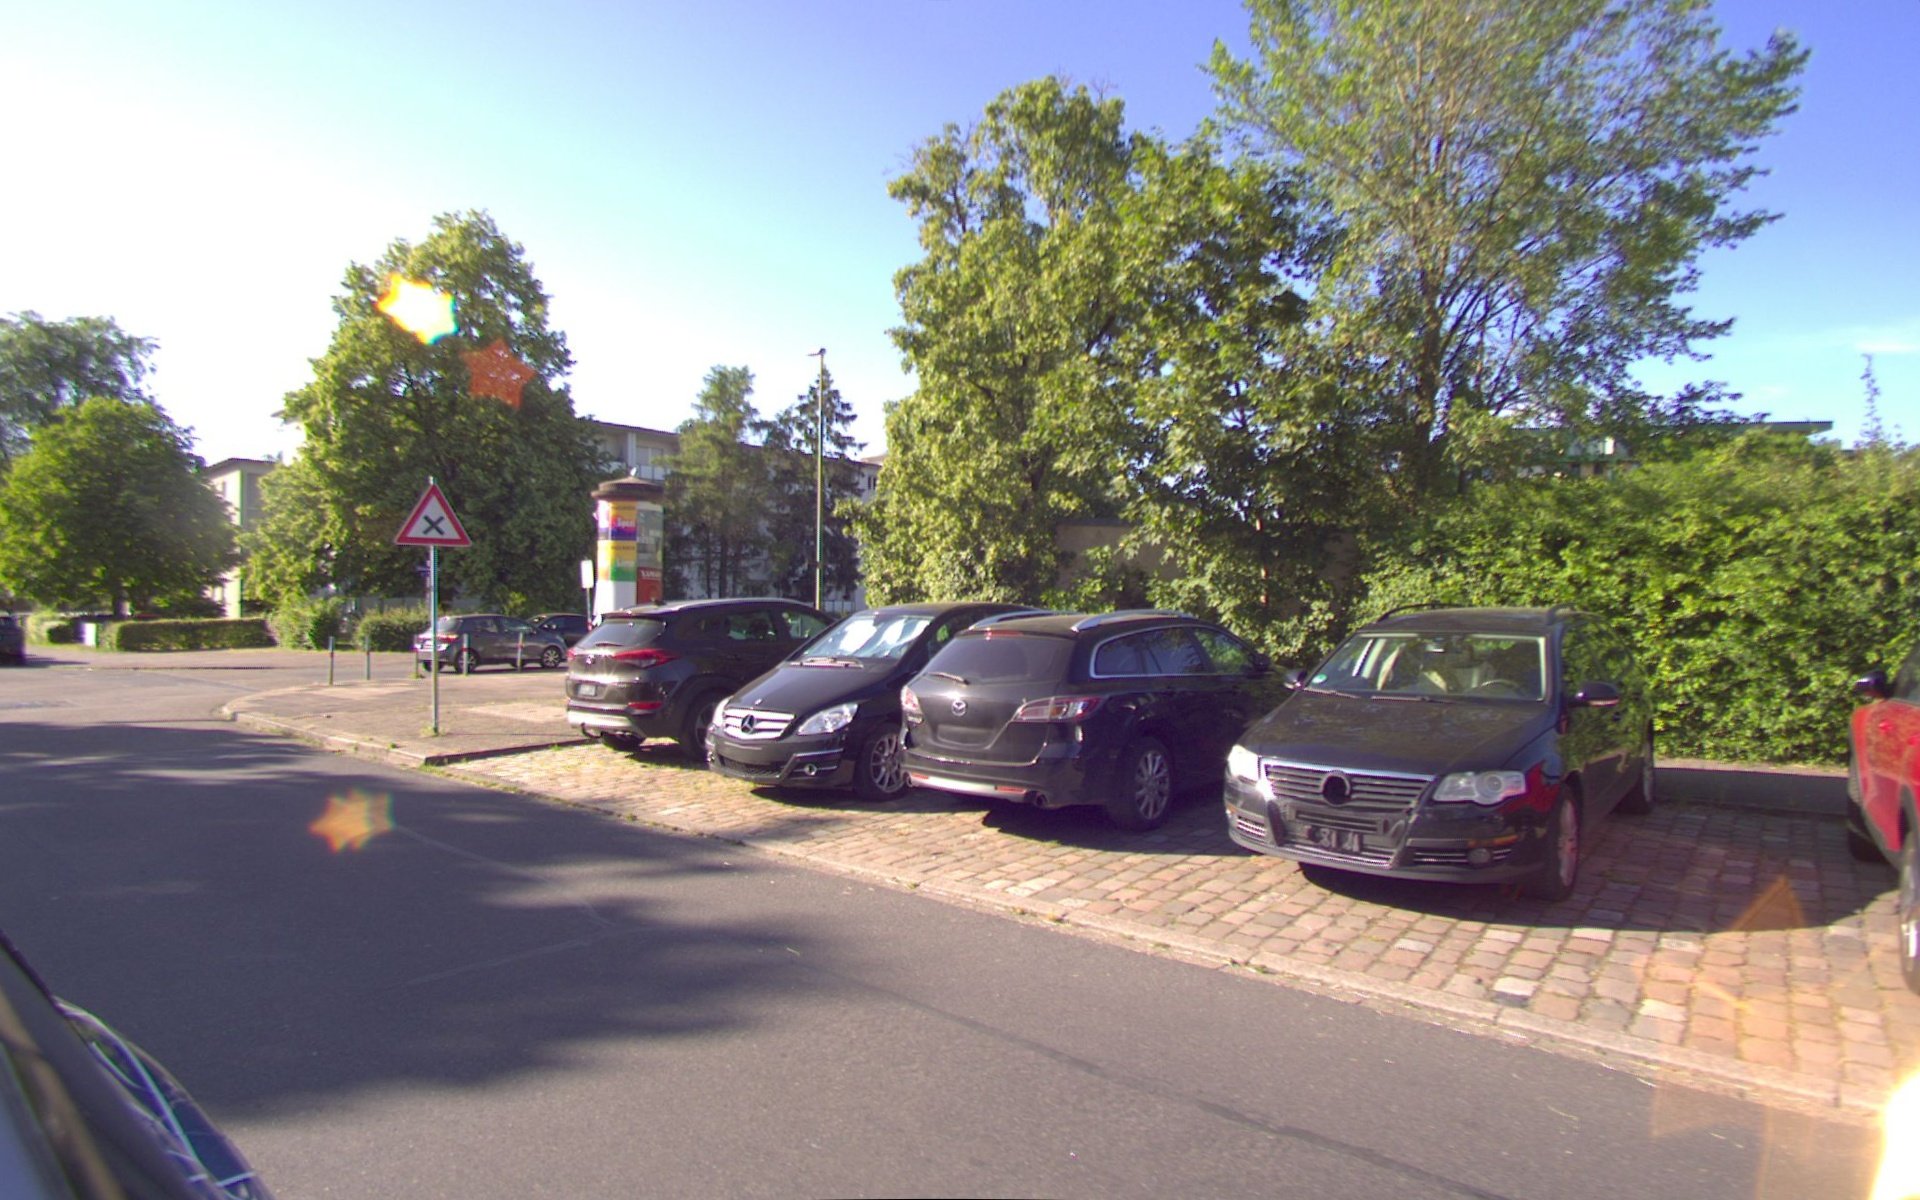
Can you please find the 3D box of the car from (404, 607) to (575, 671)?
[{"bbox_3d":[-12.550,1.022,27.234,1.648,1.567,3.961,1,-1,29],"label":"car"}]

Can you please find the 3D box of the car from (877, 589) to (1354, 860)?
[{"bbox_3d":[1.448,0.714,8.065,1.812,1.524,4.048,0,2,42],"label":"car"}]

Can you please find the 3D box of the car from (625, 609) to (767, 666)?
[{"bbox_3d":[-7.301,1.040,28.173,1.736,1.473,3.485,0,-2,38],"label":"car"}]

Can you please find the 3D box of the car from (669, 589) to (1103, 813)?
[{"bbox_3d":[-0.476,0.733,9.427,1.829,1.544,3.949,-2,0,38],"label":"car"}]

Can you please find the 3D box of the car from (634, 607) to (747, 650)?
[{"bbox_3d":[-10.228,1.099,38.581,1.744,1.554,3.877,0,-2,38],"label":"car"}]

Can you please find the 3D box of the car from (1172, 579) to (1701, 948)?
[{"bbox_3d":[3.220,0.659,6.392,1.906,1.524,3.975,0,2,43],"label":"car"}]

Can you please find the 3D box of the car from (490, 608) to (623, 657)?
[{"bbox_3d":[-13.739,1.113,34.645,1.744,1.554,3.877,0,-2,38],"label":"car"}]

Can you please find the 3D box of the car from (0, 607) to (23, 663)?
[{"bbox_3d":[-29.193,1.020,29.854,4.421,1.586,1.762,-1,-2,41],"label":"car"}]

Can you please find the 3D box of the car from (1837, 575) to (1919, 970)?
[{"bbox_3d":[5.139,0.627,4.350,1.788,1.490,3.950,-2,0,37],"label":"car"}]

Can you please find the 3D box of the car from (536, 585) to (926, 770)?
[{"bbox_3d":[-2.431,0.697,11.648,1.844,1.668,4.147,0,1,38],"label":"car"}]
